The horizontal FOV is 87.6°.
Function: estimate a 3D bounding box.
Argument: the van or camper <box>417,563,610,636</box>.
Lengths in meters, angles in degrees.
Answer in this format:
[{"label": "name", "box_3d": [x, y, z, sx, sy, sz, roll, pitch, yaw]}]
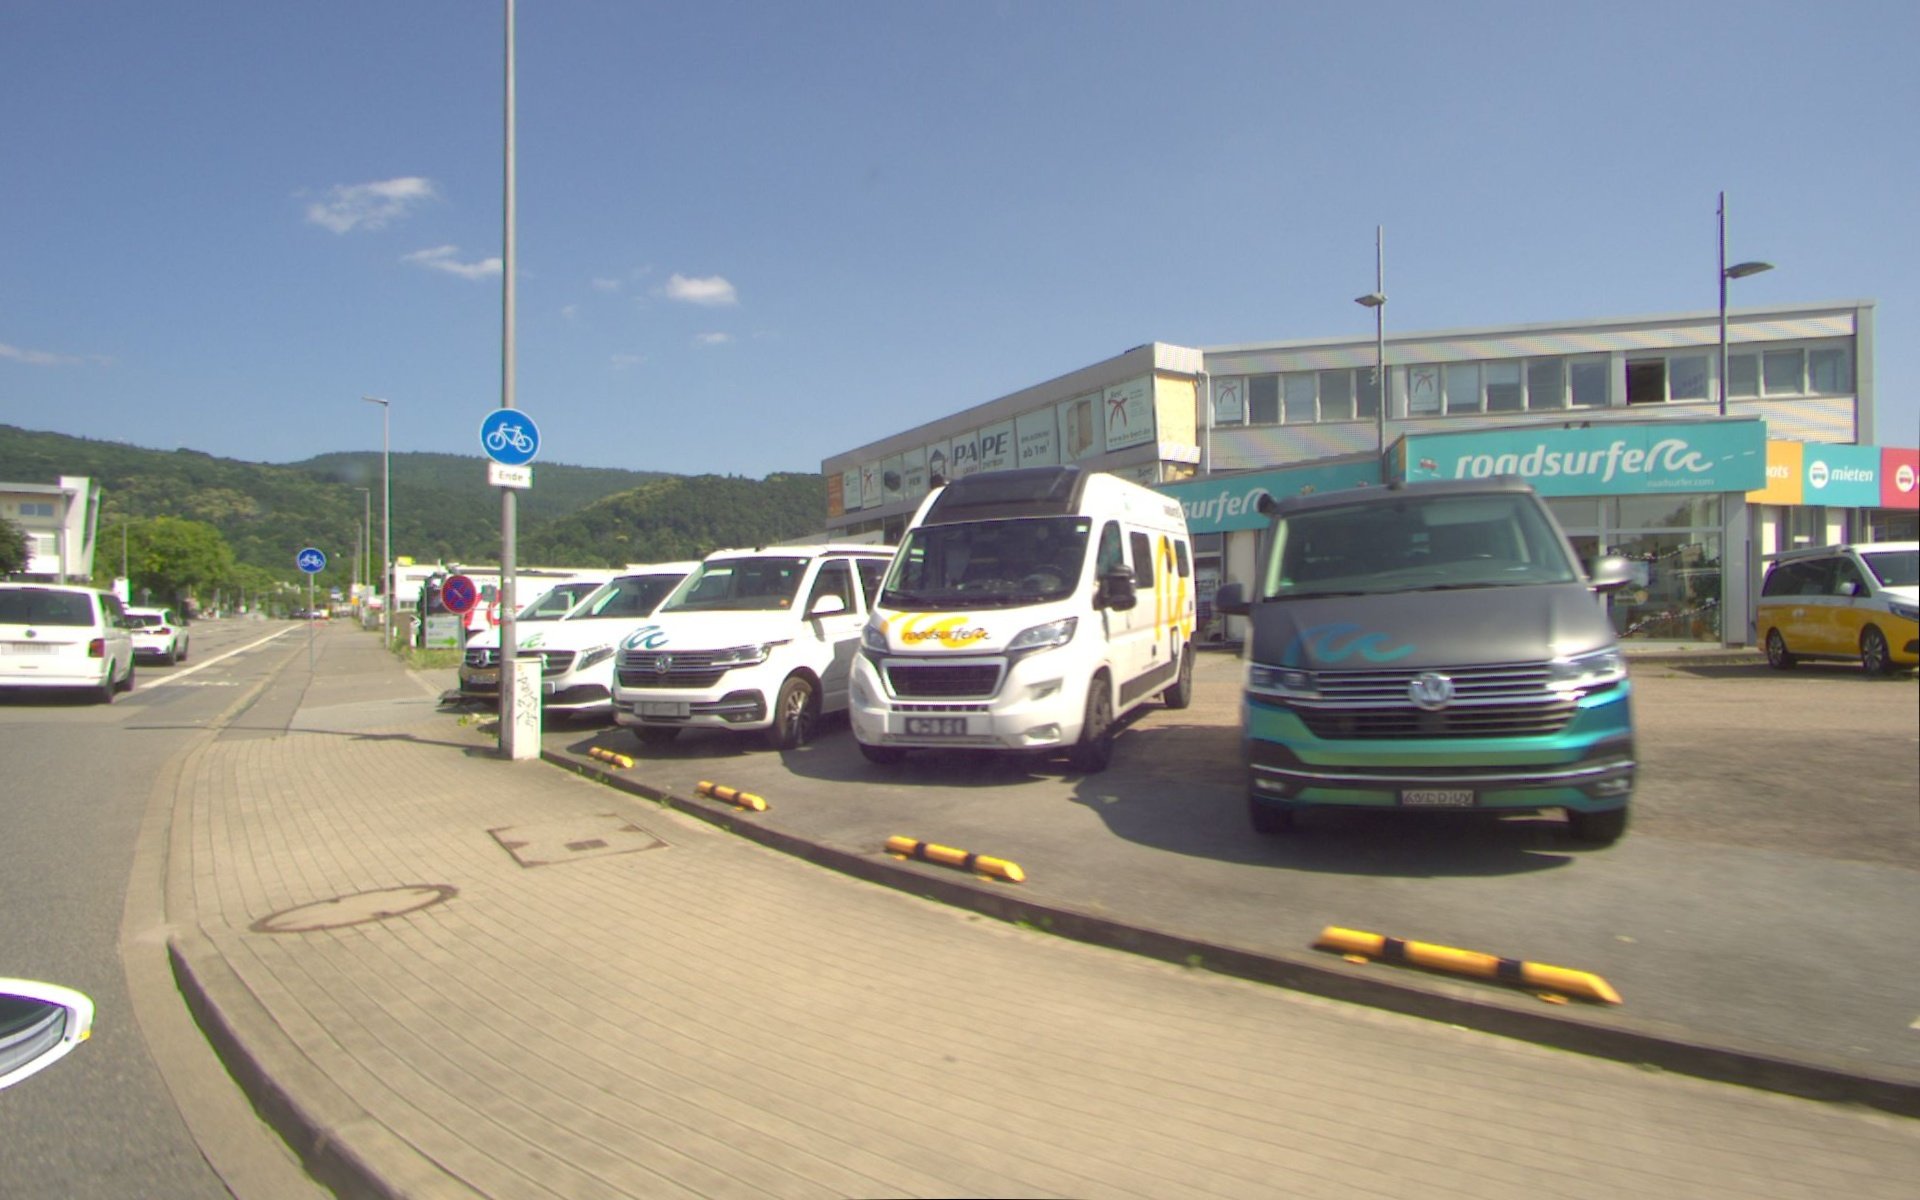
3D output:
[{"label": "van or camper", "box_3d": [-17.271, 0.048, 38.802, 6.534, 2.595, 3.382, 1, -1, -31]}]

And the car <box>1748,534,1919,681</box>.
[{"label": "car", "box_3d": [14.066, 0.104, 14.952, 2.061, 1.901, 5.092, 0, 0, 19]}]

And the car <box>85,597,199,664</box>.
[{"label": "car", "box_3d": [-23.386, 0.872, 28.777, 1.974, 1.728, 3.977, 4, -3, -32]}]

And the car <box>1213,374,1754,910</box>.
[{"label": "car", "box_3d": [3.073, 0.142, 6.799, 2.061, 2.142, 5.214, -2, 1, 20]}]

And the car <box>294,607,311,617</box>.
[{"label": "car", "box_3d": [-82.420, 1.490, 125.571, 1.701, 1.320, 3.976, 0, 0, -32]}]

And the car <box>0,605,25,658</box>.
[{"label": "car", "box_3d": [-28.647, 0.899, 28.793, 1.822, 1.483, 3.976, 0, 0, -32]}]

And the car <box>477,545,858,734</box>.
[{"label": "car", "box_3d": [-3.595, 0.420, 13.503, 1.901, 2.040, 5.128, 0, 0, 28]}]

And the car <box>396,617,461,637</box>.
[{"label": "car", "box_3d": [-35.983, 1.812, 67.793, 3.633, 1.327, 1.658, 0, 0, 9]}]

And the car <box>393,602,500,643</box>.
[{"label": "car", "box_3d": [-23.304, 1.029, 45.491, 4.253, 1.774, 1.968, 1, -2, -31]}]

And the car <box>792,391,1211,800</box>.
[{"label": "car", "box_3d": [0.918, -0.009, 10.025, 2.267, 2.753, 6.142, 0, 0, 22]}]

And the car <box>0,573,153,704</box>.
[{"label": "car", "box_3d": [-16.096, 0.600, 17.862, 2.143, 2.039, 4.983, 4, -2, -34]}]

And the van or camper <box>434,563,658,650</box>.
[{"label": "van or camper", "box_3d": [-13.491, 0.265, 32.738, 6.433, 2.595, 2.958, 1, -1, -31]}]

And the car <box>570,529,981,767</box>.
[{"label": "car", "box_3d": [-1.677, 0.436, 11.275, 1.991, 2.026, 5.144, 0, 0, 24]}]

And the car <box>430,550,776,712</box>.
[{"label": "car", "box_3d": [-5.339, 0.479, 15.828, 2.018, 2.121, 5.138, -1, -2, 28]}]

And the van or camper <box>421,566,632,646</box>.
[{"label": "van or camper", "box_3d": [-15.396, 0.254, 35.574, 6.534, 2.595, 3.732, 1, -1, -31]}]

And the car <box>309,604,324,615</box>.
[{"label": "car", "box_3d": [-100.251, 1.532, 155.983, 1.973, 1.706, 3.976, 0, 0, -32]}]
